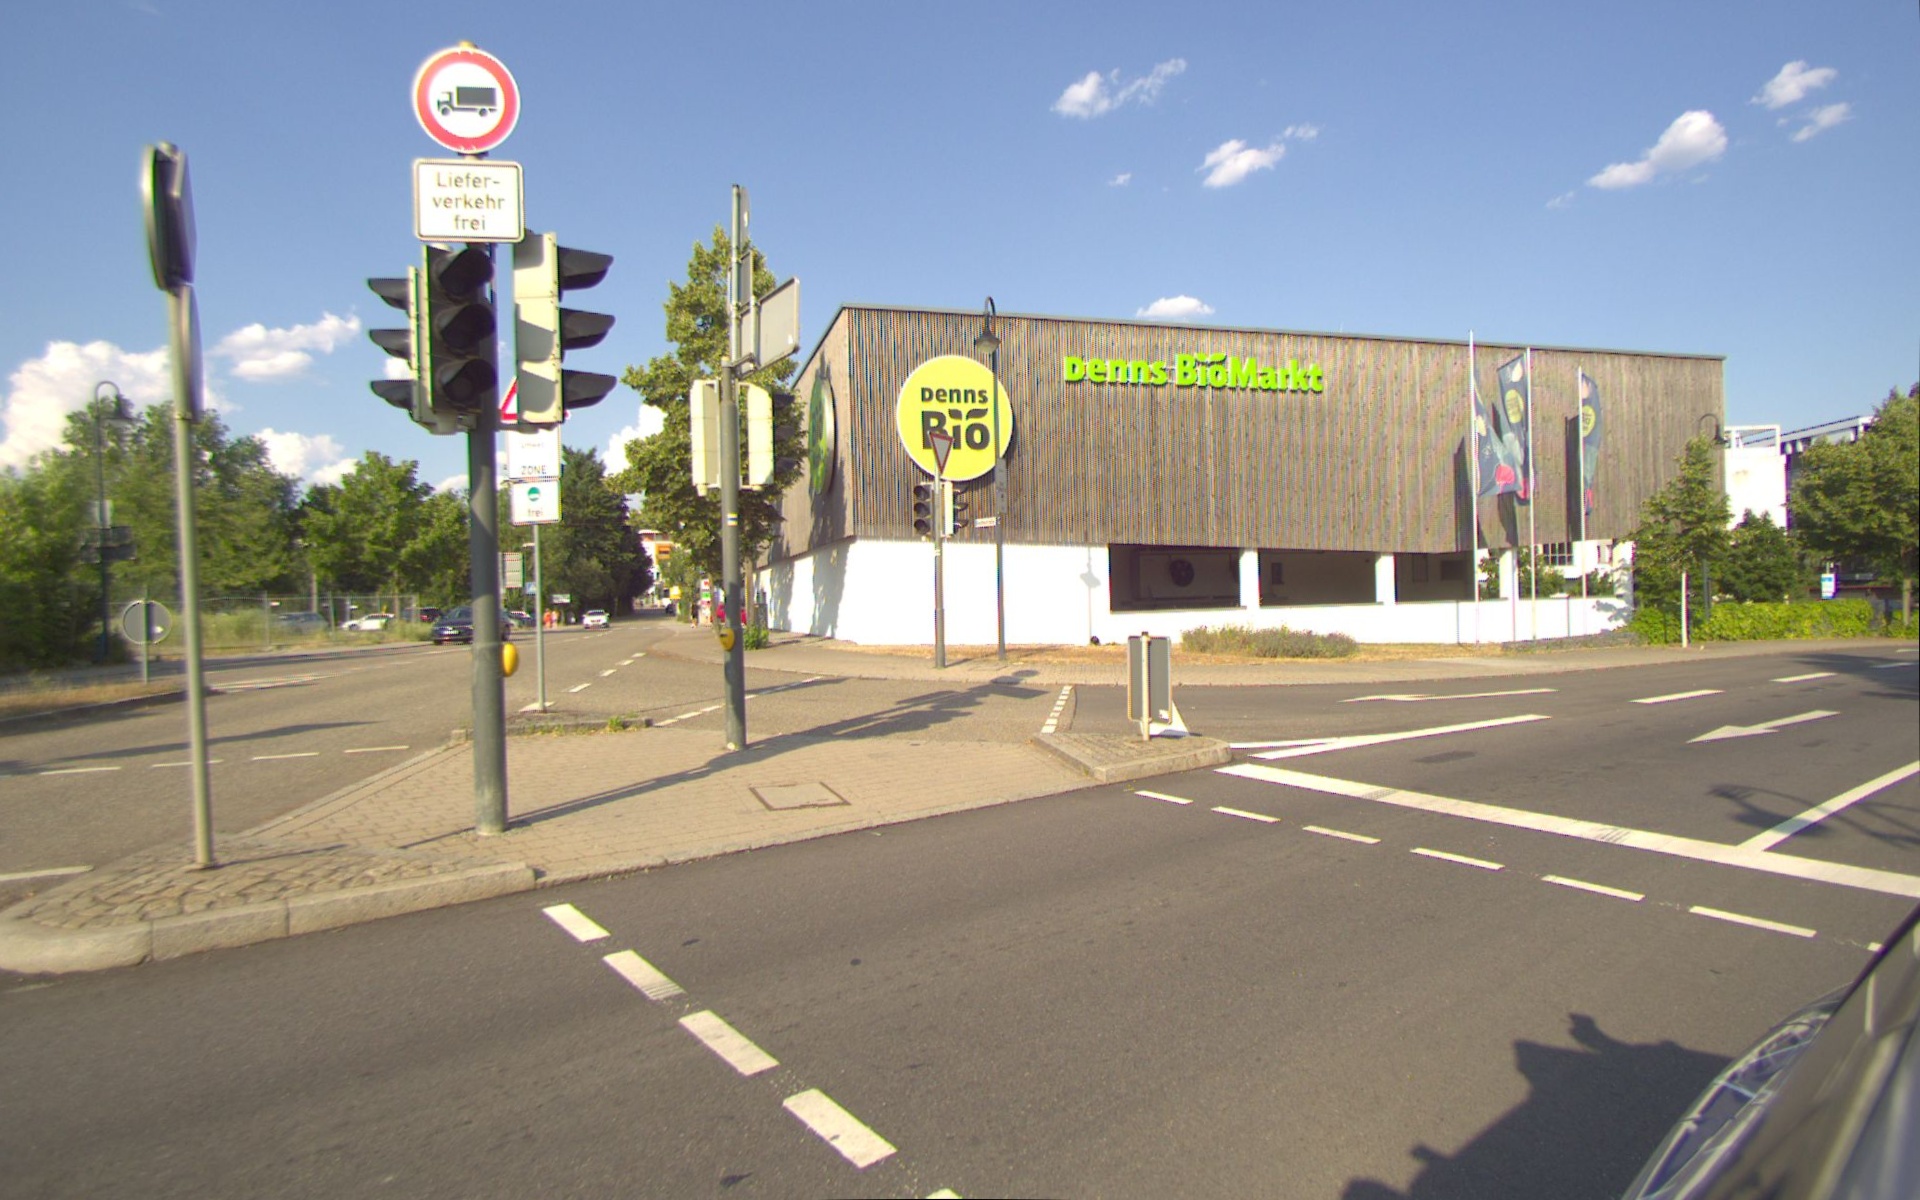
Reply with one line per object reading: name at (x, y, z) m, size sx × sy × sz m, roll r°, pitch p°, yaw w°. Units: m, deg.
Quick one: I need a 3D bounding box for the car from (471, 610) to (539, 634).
car at (-32.624, 1.577, 72.673) m, size 4.225 × 1.473 × 1.899 m, roll -2°, pitch 2°, yaw -17°

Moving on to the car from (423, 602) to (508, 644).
car at (-18.724, 0.836, 38.509) m, size 1.820 × 1.471 × 4.007 m, roll 0°, pitch 1°, yaw -9°

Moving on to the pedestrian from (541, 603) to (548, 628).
pedestrian at (-32.386, 1.230, 78.914) m, size 0.412 × 1.895 × 0.343 m, roll -1°, pitch 1°, yaw -18°

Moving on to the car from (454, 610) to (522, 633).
car at (-34.598, 1.556, 74.280) m, size 4.225 × 1.473 × 1.899 m, roll -2°, pitch 2°, yaw -17°

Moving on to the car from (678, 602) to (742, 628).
car at (-17.619, 1.032, 71.245) m, size 4.225 × 1.745 × 1.899 m, roll 0°, pitch 0°, yaw -17°

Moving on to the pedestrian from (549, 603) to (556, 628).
pedestrian at (-31.831, 1.221, 79.075) m, size 0.406 × 1.895 × 0.343 m, roll -1°, pitch 1°, yaw -18°

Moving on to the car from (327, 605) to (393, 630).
car at (-48.048, 1.380, 81.155) m, size 4.225 × 1.744 × 1.899 m, roll -2°, pitch 2°, yaw -17°
